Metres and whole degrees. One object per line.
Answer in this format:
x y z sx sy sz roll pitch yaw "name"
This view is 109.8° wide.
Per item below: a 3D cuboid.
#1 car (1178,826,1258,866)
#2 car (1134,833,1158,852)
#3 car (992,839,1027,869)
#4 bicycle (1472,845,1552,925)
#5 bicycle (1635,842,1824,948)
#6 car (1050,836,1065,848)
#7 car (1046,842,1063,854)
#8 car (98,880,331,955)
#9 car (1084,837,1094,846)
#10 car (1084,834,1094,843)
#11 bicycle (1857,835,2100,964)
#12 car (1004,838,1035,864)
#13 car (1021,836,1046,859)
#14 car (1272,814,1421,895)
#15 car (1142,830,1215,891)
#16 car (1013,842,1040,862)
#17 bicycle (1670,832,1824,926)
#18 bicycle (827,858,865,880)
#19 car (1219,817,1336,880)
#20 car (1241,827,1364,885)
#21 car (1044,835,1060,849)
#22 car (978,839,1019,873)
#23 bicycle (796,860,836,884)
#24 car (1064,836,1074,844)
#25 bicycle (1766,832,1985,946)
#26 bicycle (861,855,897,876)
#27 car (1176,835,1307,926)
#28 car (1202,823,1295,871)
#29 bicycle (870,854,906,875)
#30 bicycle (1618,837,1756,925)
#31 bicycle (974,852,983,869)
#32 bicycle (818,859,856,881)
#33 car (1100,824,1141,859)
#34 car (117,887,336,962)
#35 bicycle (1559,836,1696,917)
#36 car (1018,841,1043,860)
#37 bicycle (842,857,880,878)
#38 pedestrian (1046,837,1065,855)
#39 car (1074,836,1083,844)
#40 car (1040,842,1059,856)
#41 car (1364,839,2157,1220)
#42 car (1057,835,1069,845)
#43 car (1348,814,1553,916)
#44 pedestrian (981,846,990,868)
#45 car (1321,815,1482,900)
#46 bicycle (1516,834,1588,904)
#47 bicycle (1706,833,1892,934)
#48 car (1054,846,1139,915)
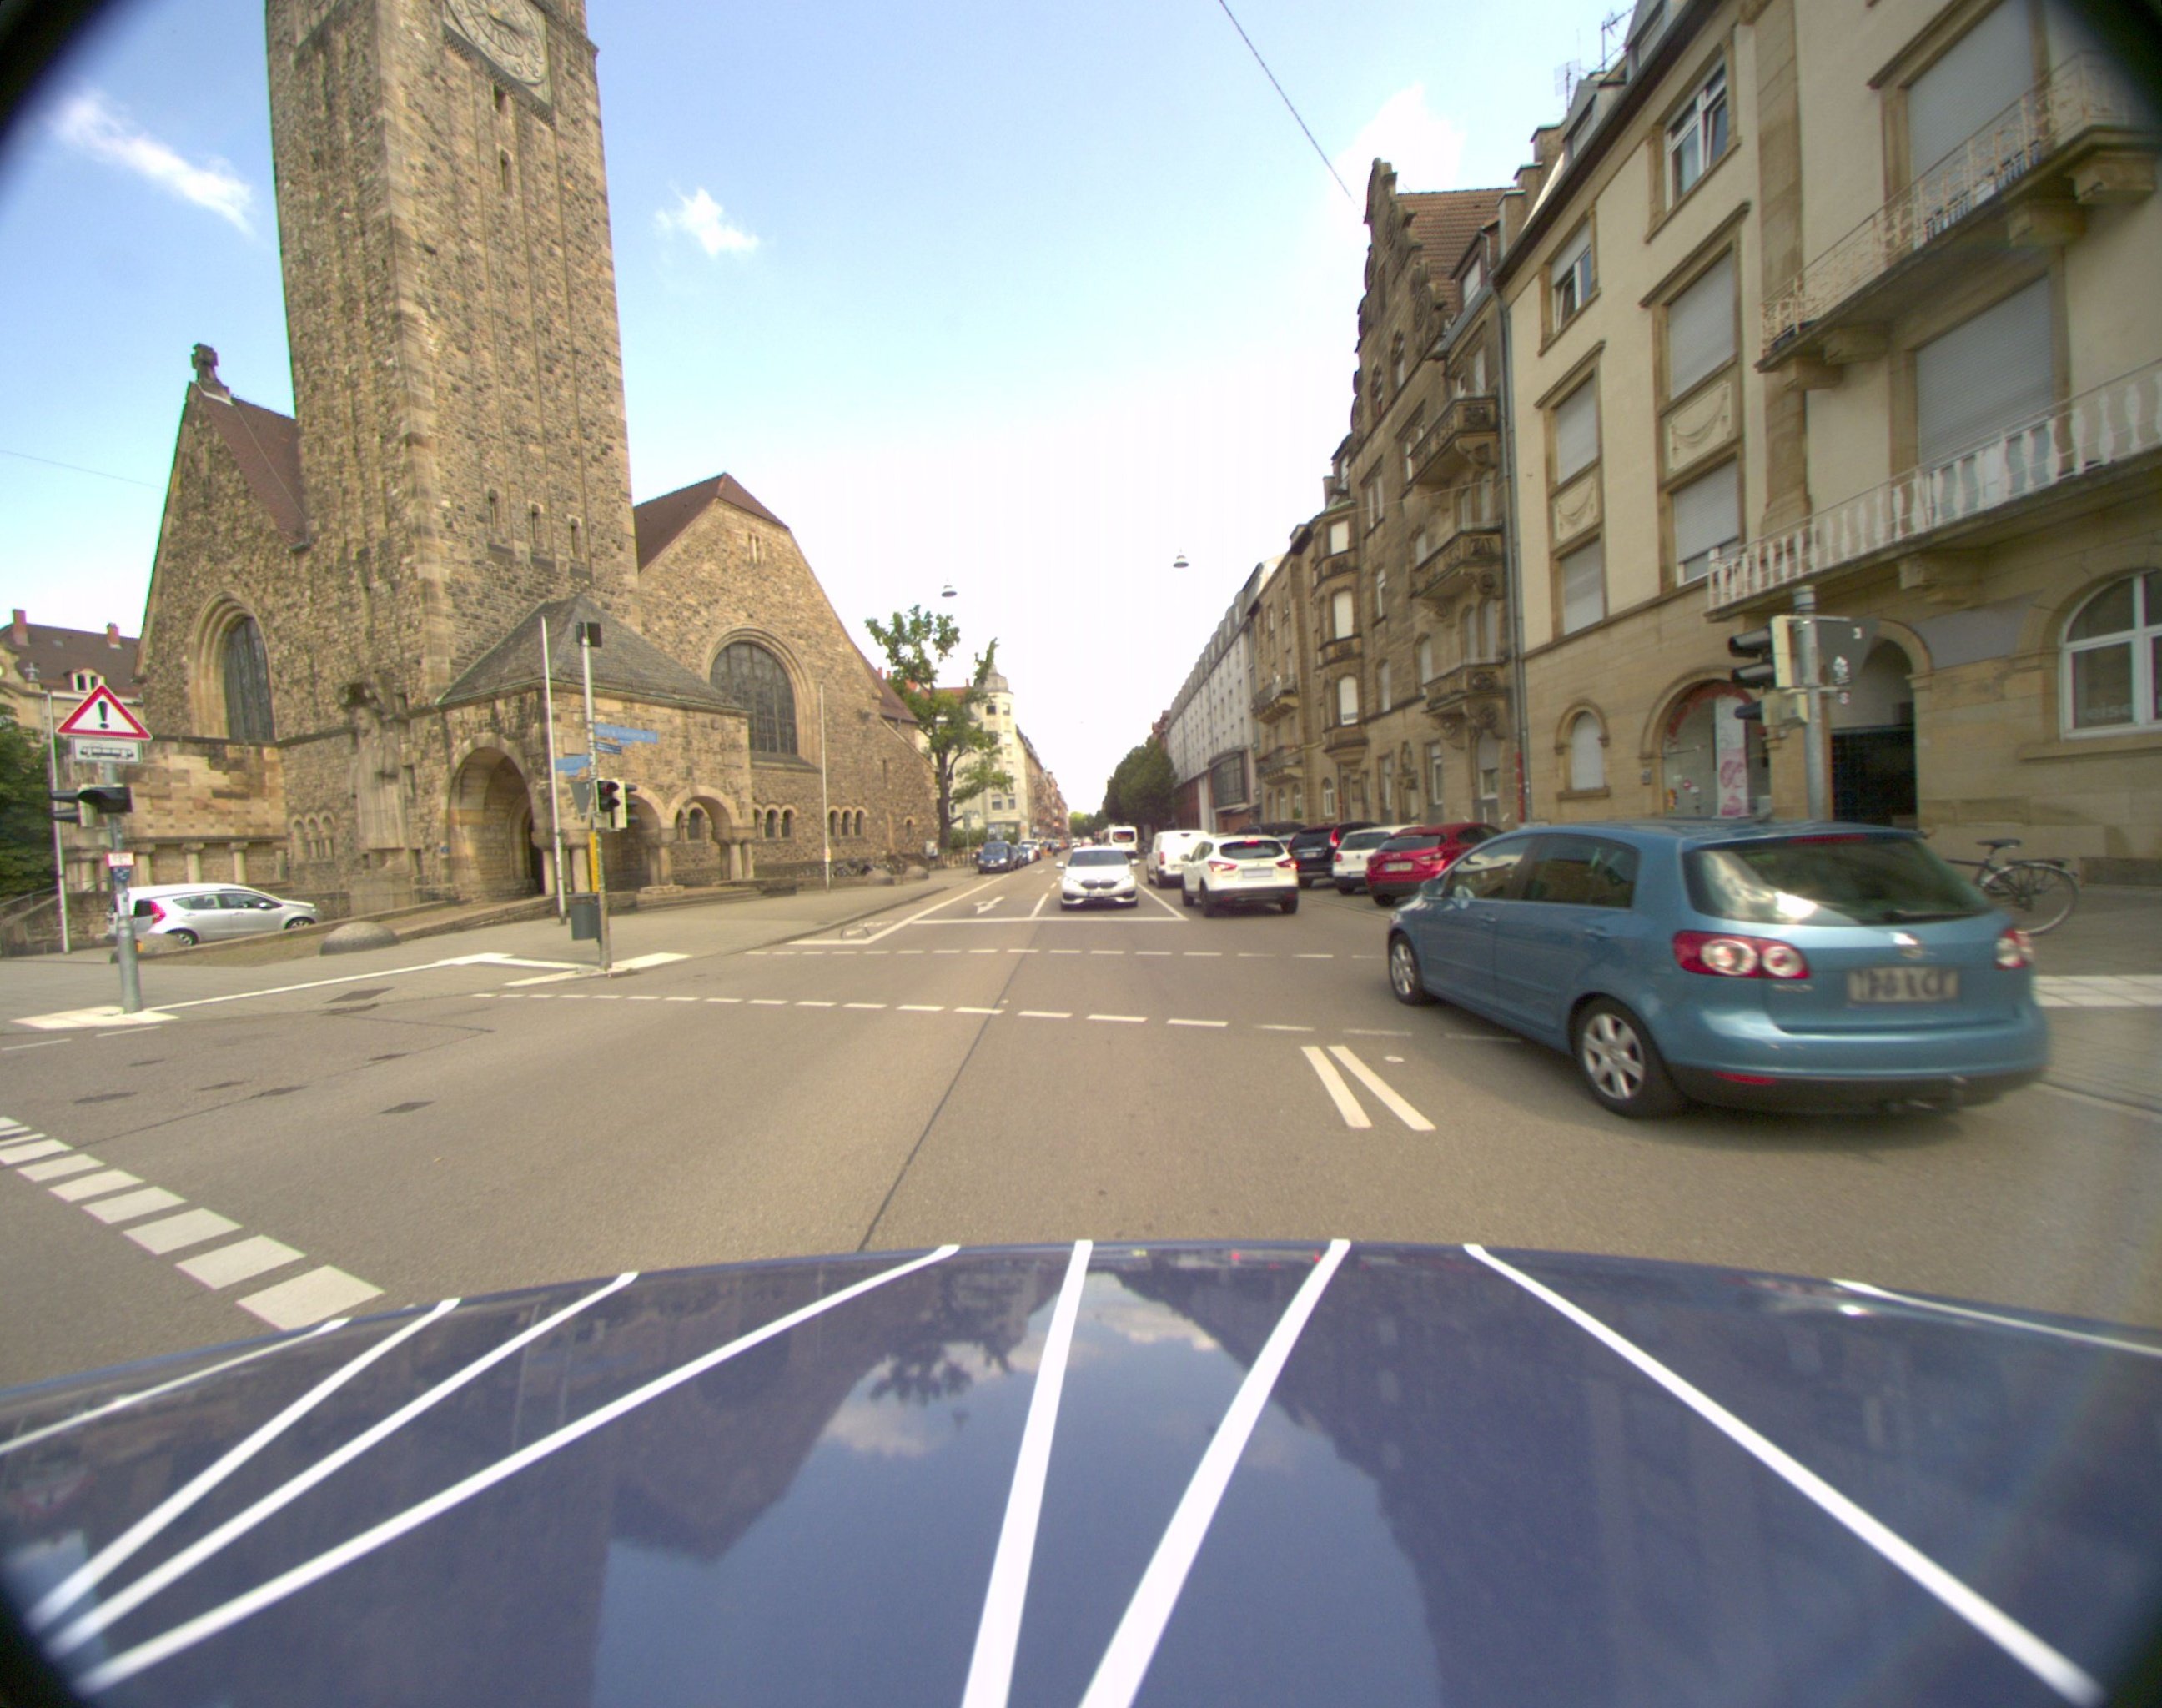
7.146 -0.448 39.524 3.959 1.576 1.727 -8 1 -38 "car"
5.741 -1.010 67.471 1.891 1.556 3.890 -4 1 2 "car"
-4.608 -0.026 49.536 1.683 1.781 3.999 -4 1 2 "car"
6.807 0.458 11.959 1.815 1.046 0.556 -7 2 -45 "bicycle"
7.380 0.464 8.699 1.580 1.046 0.481 -5 2 9 "bicycle"
-3.580 -1.881 116.282 1.809 1.756 4.186 -4 1 2 "car"
-3.279 -0.744 93.935 1.809 1.360 4.186 -4 1 2 "car"
-26.750 1.904 23.672 1.995 1.843 4.312 -4 0 25 "car"
1.717 -2.611 155.514 1.809 1.591 4.186 -4 1 2 "car"
1.698 -3.328 162.660 1.809 1.591 4.186 -4 1 2 "car"
8.279 0.416 7.055 1.441 1.046 0.481 -5 2 10 "bicycle"
-4.449 -0.251 55.586 1.683 1.781 3.999 -4 1 2 "car"
-4.334 -0.634 70.073 1.844 1.927 4.186 -4 1 2 "car"
7.194 -0.016 20.471 3.960 1.680 1.799 -7 1 -38 "car"
3.132 0.172 25.242 1.816 1.765 4.283 -3 0 0 "car"
-4.312 -0.177 60.265 1.683 1.439 3.797 -4 1 2 "car"
8.572 0.318 9.802 1.483 1.046 0.462 -6 2 2 "bicycle"
-12.367 0.775 40.042 1.935 1.106 0.587 0 3 22 "bicycle"
7.105 -0.205 27.412 3.959 1.857 1.727 -7 2 -33 "car"
7.302 0.052 24.953 3.960 1.421 1.727 -7 1 -37 "car"
-3.937 -1.596 102.634 1.809 1.756 4.186 -4 1 2 "car"
-4.753 0.084 44.061 1.683 1.781 4.144 -4 1 2 "car"
-13.232 0.895 37.919 1.935 1.106 0.587 0 3 22 "bicycle"
-2.706 -3.121 169.175 1.809 1.756 4.186 -4 1 2 "car"
8.396 0.365 8.078 1.612 1.046 0.481 -5 2 9 "bicycle"
-11.287 0.635 42.355 1.935 1.106 0.587 0 3 22 "bicycle"
3.187 0.466 15.899 1.775 1.573 4.019 -3 1 -1 "car"
7.407 -0.336 33.386 3.959 1.577 1.727 -9 3 -38 "car"
-10.939 0.591 43.080 1.935 1.106 0.587 0 3 22 "bicycle"
8.353 0.357 10.493 1.483 1.046 0.462 -6 2 -2 "bicycle"
-6.814 0.426 50.473 0.480 1.046 1.442 -4 1 -4 "bicycle"
-12.653 0.813 39.385 1.935 1.106 0.587 0 3 22 "bicycle"
2.824 -0.875 55.800 2.082 2.431 5.942 -2 0 -5 "car"
-23.999 1.928 21.506 1.815 1.668 3.643 -4 0 23 "car"
8.318 0.333 11.597 1.631 1.046 0.558 -6 1 0 "bicycle"
-4.295 -0.353 65.579 1.683 1.488 3.890 -4 1 2 "car"
-11.840 0.715 40.899 1.935 1.106 0.587 0 3 22 "bicycle"
-2.678 -0.864 79.015 1.316 1.748 1.370 -5 2 -39 "pedestrian"
-0.565 -3.221 175.258 1.809 1.654 4.186 -4 1 2 "car"
-3.632 -0.604 88.304 1.809 1.360 4.186 -4 1 2 "car"
3.537 0.688 5.098 1.752 1.532 3.930 -1 1 -1 "car"
-3.422 -2.682 145.193 1.809 1.902 4.186 -4 1 2 "car"
7.185 0.174 14.640 4.005 1.449 1.808 -7 1 -37 "car"
-6.330 0.182 50.488 0.466 1.447 0.556 -4 2 -4 "pedestrian"
7.551 0.045 17.748 3.960 1.449 1.727 -8 1 -40 "car"
8.400 0.249 13.525 1.907 1.046 0.556 -7 2 -43 "bicycle"
8.533 0.345 9.073 1.580 1.046 0.481 -5 2 9 "bicycle"
0.420 0.570 19.093 1.826 1.440 4.385 -2 1 2 "car"
